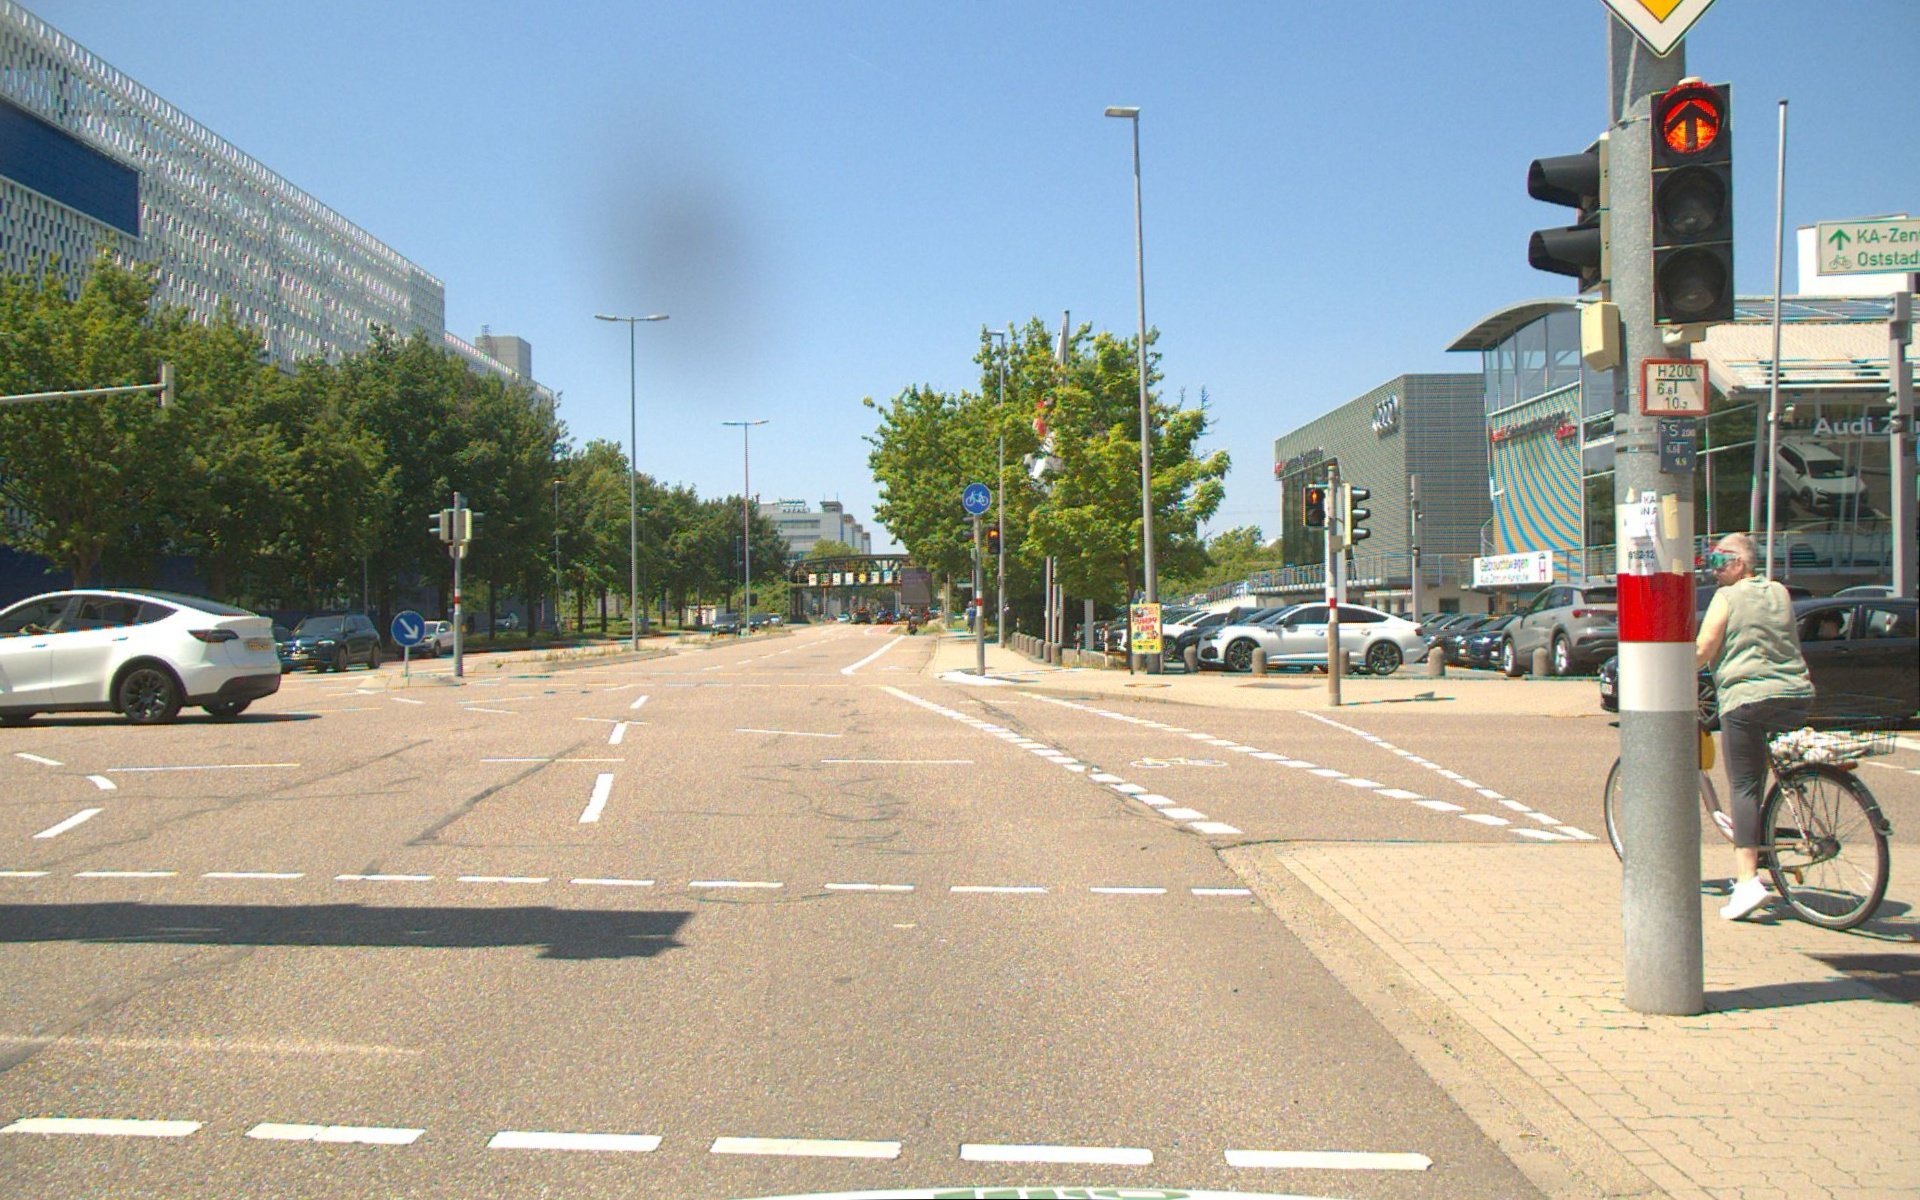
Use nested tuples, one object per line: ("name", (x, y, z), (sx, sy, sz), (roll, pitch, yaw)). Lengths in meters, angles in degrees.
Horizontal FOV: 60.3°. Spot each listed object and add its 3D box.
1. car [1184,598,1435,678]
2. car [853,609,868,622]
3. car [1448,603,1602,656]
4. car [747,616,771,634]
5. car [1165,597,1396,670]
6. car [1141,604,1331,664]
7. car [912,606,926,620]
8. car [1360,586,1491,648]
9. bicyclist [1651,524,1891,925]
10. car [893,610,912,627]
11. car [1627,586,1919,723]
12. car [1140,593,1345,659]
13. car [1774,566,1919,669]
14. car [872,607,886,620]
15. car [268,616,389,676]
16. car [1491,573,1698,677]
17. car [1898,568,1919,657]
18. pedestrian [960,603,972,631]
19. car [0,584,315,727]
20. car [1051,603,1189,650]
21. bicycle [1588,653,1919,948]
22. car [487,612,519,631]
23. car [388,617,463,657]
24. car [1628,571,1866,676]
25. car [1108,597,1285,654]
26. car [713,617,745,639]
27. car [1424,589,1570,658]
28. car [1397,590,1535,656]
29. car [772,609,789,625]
("car", (6.970, 0.740, 33.347), (4.643, 1.482, 2.000), (-1, 0, 1))
("car", (-13.541, 2.125, 225.088), (1.736, 1.758, 3.999), (-1, -1, -1))
("car", (16.859, 0.864, 49.464), (4.008, 1.486, 1.719), (-1, 0, 0))
("car", (-16.855, 2.071, 138.729), (1.650, 1.436, 3.664), (-1, -1, -1))
("car", (6.890, 0.729, 35.930), (4.643, 1.482, 2.000), (-1, -1, 1))
("car", (7.263, 0.883, 43.820), (4.646, 1.482, 1.999), (-1, 0, -3))
("car", (-5.433, 1.706, 220.614), (1.736, 1.758, 3.999), (-1, -1, -1))
("car", (15.967, 0.575, 56.860), (3.905, 2.049, 2.000), (-1, 0, 0))
("bicyclist", (3.776, 0.554, 7.751), (0.719, 1.779, 0.753), (0, 0, -5))
("car", (-3.665, 1.158, 105.350), (1.114, 1.060, 2.308), (-1, 0, -1))
("car", (9.768, 0.584, 18.310), (4.132, 1.436, 1.673), (-1, -1, 9))
("car", (6.762, 0.611, 40.014), (4.643, 1.482, 2.000), (-1, 0, 1))
("car", (16.478, 0.254, 29.198), (1.953, 1.668, 4.440), (-1, 0, -1))
("car", (-10.752, 1.792, 220.038), (1.736, 1.758, 3.999), (-1, -1, -1))
("car", (-18.328, 1.297, 48.219), (1.837, 1.626, 4.495), (-1, -1, -1))
("car", (11.043, 0.386, 29.141), (1.953, 1.668, 4.267), (-1, 0, -1))
("car", (18.841, 0.223, 29.280), (1.847, 1.668, 4.524), (-1, 0, -1))
("pedestrian", (0.327, 0.948, 93.261), (0.654, 1.537, 0.736), (-1, 0, -1))
("car", (-10.697, 0.687, 20.497), (4.581, 1.616, 2.001), (-2, -1, 5))
("car", (5.655, 0.920, 58.874), (4.646, 1.482, 1.999), (-2, 0, -3))
("bicycle", (3.794, 0.864, 7.864), (0.771, 1.147, 1.919), (0, 0, -4))
("car", (-46.725, 2.176, 169.188), (1.952, 1.842, 4.030), (1, 0, 2))
("car", (-23.744, 1.614, 73.585), (1.886, 1.694, 4.089), (-1, -1, 2))
("car", (13.682, 0.358, 29.103), (1.953, 1.668, 4.557), (-1, 0, -1))
("car", (6.614, 0.702, 46.643), (4.646, 1.482, 1.999), (-1, 0, -3))
("car", (-16.076, 1.923, 115.213), (1.697, 1.452, 3.705), (-3, -1, -1))
("car", (16.773, 0.713, 51.805), (3.905, 2.049, 2.000), (-1, 0, 0))
("car", (16.663, 0.755, 54.619), (3.905, 2.049, 2.000), (-1, 0, 0))
("car", (-19.184, 1.793, 177.028), (1.617, 1.682, 4.159), (-1, 0, -5))
